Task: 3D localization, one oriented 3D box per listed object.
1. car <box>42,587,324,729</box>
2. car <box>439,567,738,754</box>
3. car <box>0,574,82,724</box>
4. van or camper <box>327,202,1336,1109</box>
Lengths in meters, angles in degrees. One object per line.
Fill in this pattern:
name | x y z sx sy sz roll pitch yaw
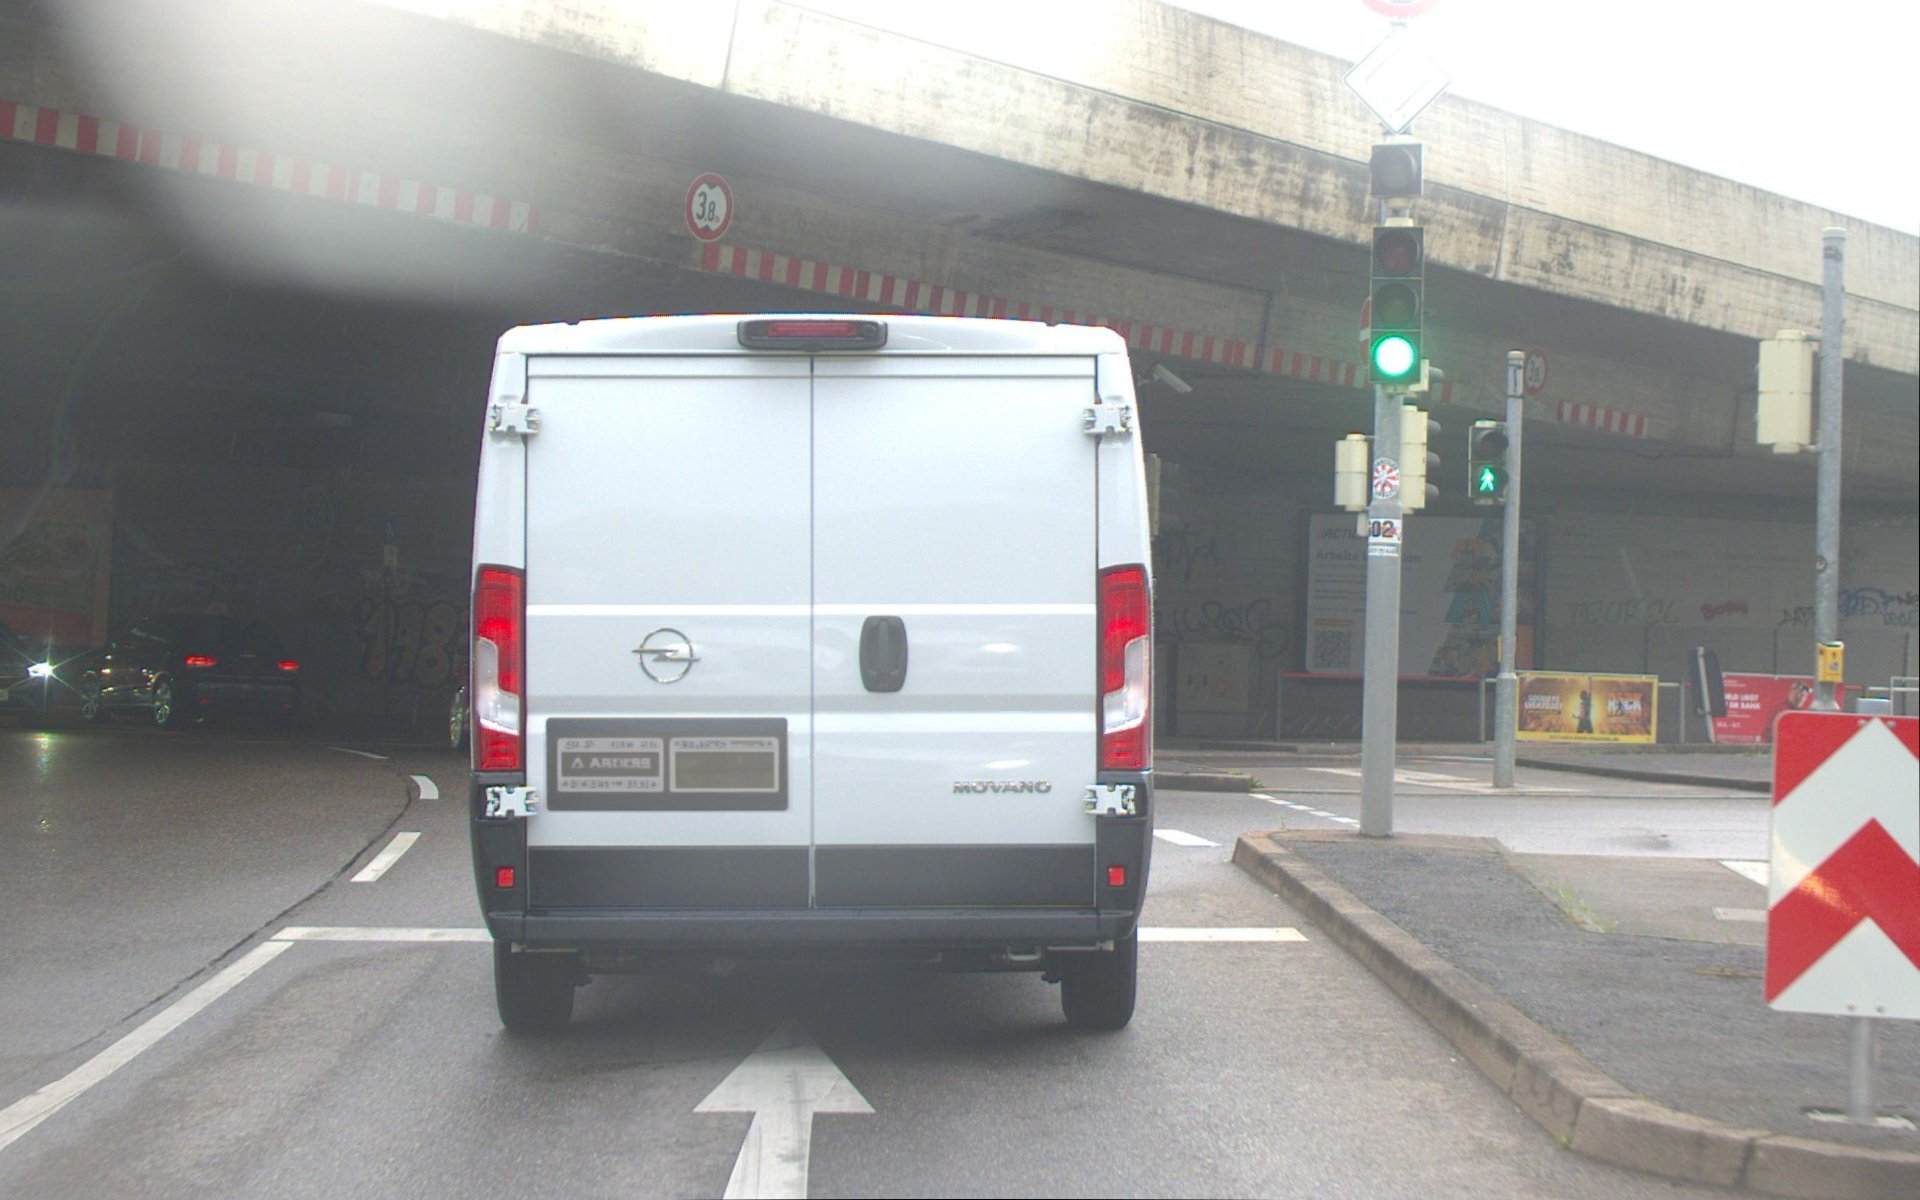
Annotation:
car | -9.726 0.693 42.780 1.993 1.525 4.318 2 1 -33
car | -3.230 0.514 29.181 1.835 1.433 4.104 2 -1 -16
car | -11.438 0.459 38.251 1.993 1.525 4.500 2 1 -31
van or camper | -0.386 0.135 11.919 2.698 2.408 4.903 2 0 -1
